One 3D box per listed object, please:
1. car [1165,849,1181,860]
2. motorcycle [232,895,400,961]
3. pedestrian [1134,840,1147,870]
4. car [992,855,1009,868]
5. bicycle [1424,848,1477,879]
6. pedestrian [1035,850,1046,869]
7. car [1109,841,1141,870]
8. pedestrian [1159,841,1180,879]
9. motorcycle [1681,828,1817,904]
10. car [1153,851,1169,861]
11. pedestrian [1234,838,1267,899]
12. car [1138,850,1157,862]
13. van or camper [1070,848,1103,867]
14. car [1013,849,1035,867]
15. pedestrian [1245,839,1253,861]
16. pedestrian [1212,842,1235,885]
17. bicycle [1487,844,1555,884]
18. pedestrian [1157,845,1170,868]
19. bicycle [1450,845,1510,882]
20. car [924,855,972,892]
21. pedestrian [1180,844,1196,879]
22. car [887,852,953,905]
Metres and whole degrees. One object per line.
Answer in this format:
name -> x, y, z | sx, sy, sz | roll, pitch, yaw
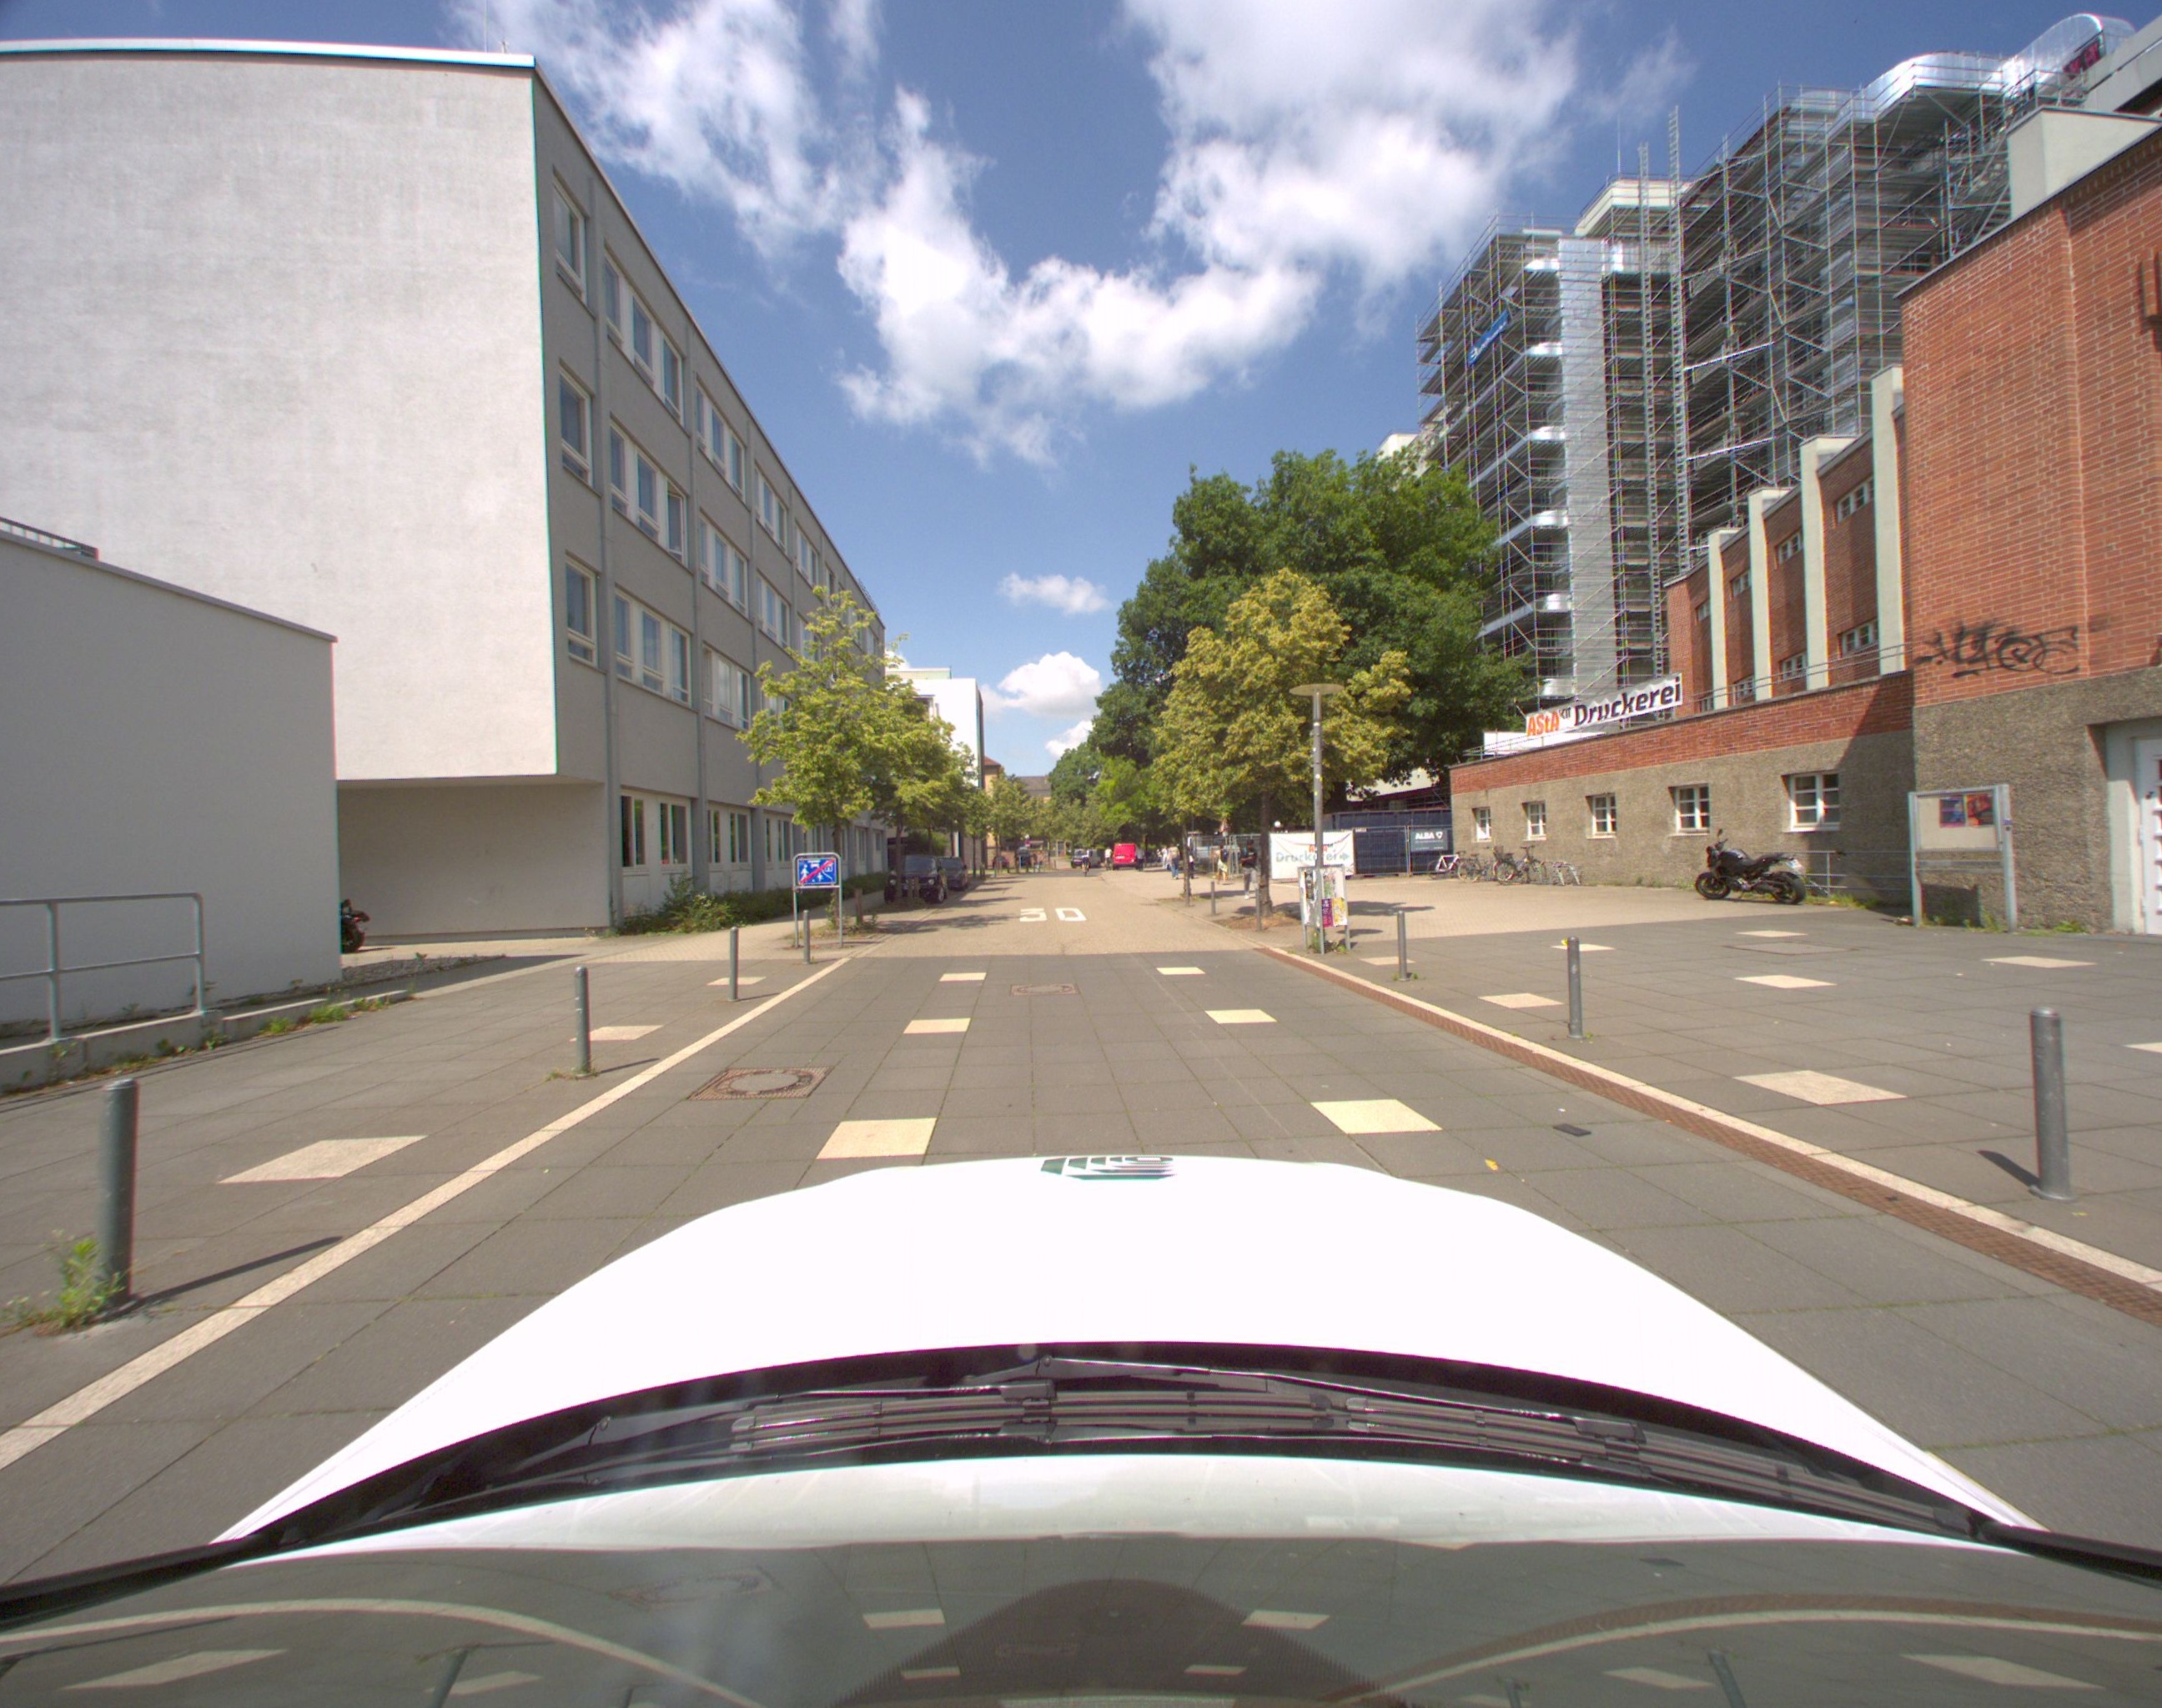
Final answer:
car -> 14.083, 0.064, 124.811 | 1.603, 1.679, 4.018 | -2, 0, 17
motorcycle -> -14.157, 1.349, 15.123 | 2.171, 1.042, 0.881 | -2, 0, -3
pedestrian -> 3.644, 0.065, 49.967 | 0.690, 1.781, 0.789 | -2, 0, 9
car -> -8.971, 0.831, 91.077 | 1.814, 1.324, 3.761 | -2, 0, -5
bicycle -> 12.939, 0.334, 28.507 | 1.668, 1.003, 0.447 | -2, 0, -4
pedestrian -> -3.851, 0.476, 76.812 | 0.578, 1.764, 0.917 | -2, 0, 28
car -> 3.125, 0.097, 57.056 | 1.839, 1.891, 4.899 | -2, 0, 6
pedestrian -> 4.196, 0.284, 38.502 | 0.847, 1.764, 0.715 | -2, 0, -1
motorcycle -> 12.624, 0.214, 15.501 | 0.694, 1.323, 2.218 | -2, 0, -2
car -> 11.460, 0.231, 116.487 | 1.603, 1.387, 4.018 | -2, 0, 17
pedestrian -> 4.818, 0.410, 23.226 | 0.641, 1.697, 0.790 | -2, 0, -9
car -> 8.950, 0.274, 109.232 | 1.746, 1.522, 4.130 | -2, 0, 17
van or camper -> 0.591, 0.317, 83.751 | 1.938, 1.923, 5.443 | -1, 0, 16
car -> -6.428, 0.442, 91.473 | 2.172, 1.926, 5.175 | -2, 0, -6
pedestrian -> 14.587, -0.365, 70.613 | 0.541, 1.837, 0.762 | -2, 0, 3
pedestrian -> 5.663, 0.375, 32.411 | 0.648, 1.666, 0.904 | -2, 0, -2
bicycle -> 13.006, 0.289, 24.093 | 1.802, 1.109, 0.447 | -2, 0, -4
pedestrian -> 6.540, 0.191, 64.646 | 0.727, 1.821, 0.622 | -2, -1, -40
bicycle -> 12.796, 0.299, 26.138 | 1.698, 1.109, 0.447 | -2, 0, -4
car -> -5.739, 0.795, 35.568 | 1.775, 1.461, 4.250 | -1, 0, -6
pedestrian -> 5.038, 0.363, 38.349 | 0.665, 1.600, 0.986 | -2, 0, 4
car -> -5.279, 0.757, 27.084 | 1.694, 1.564, 4.060 | -2, 0, -6
